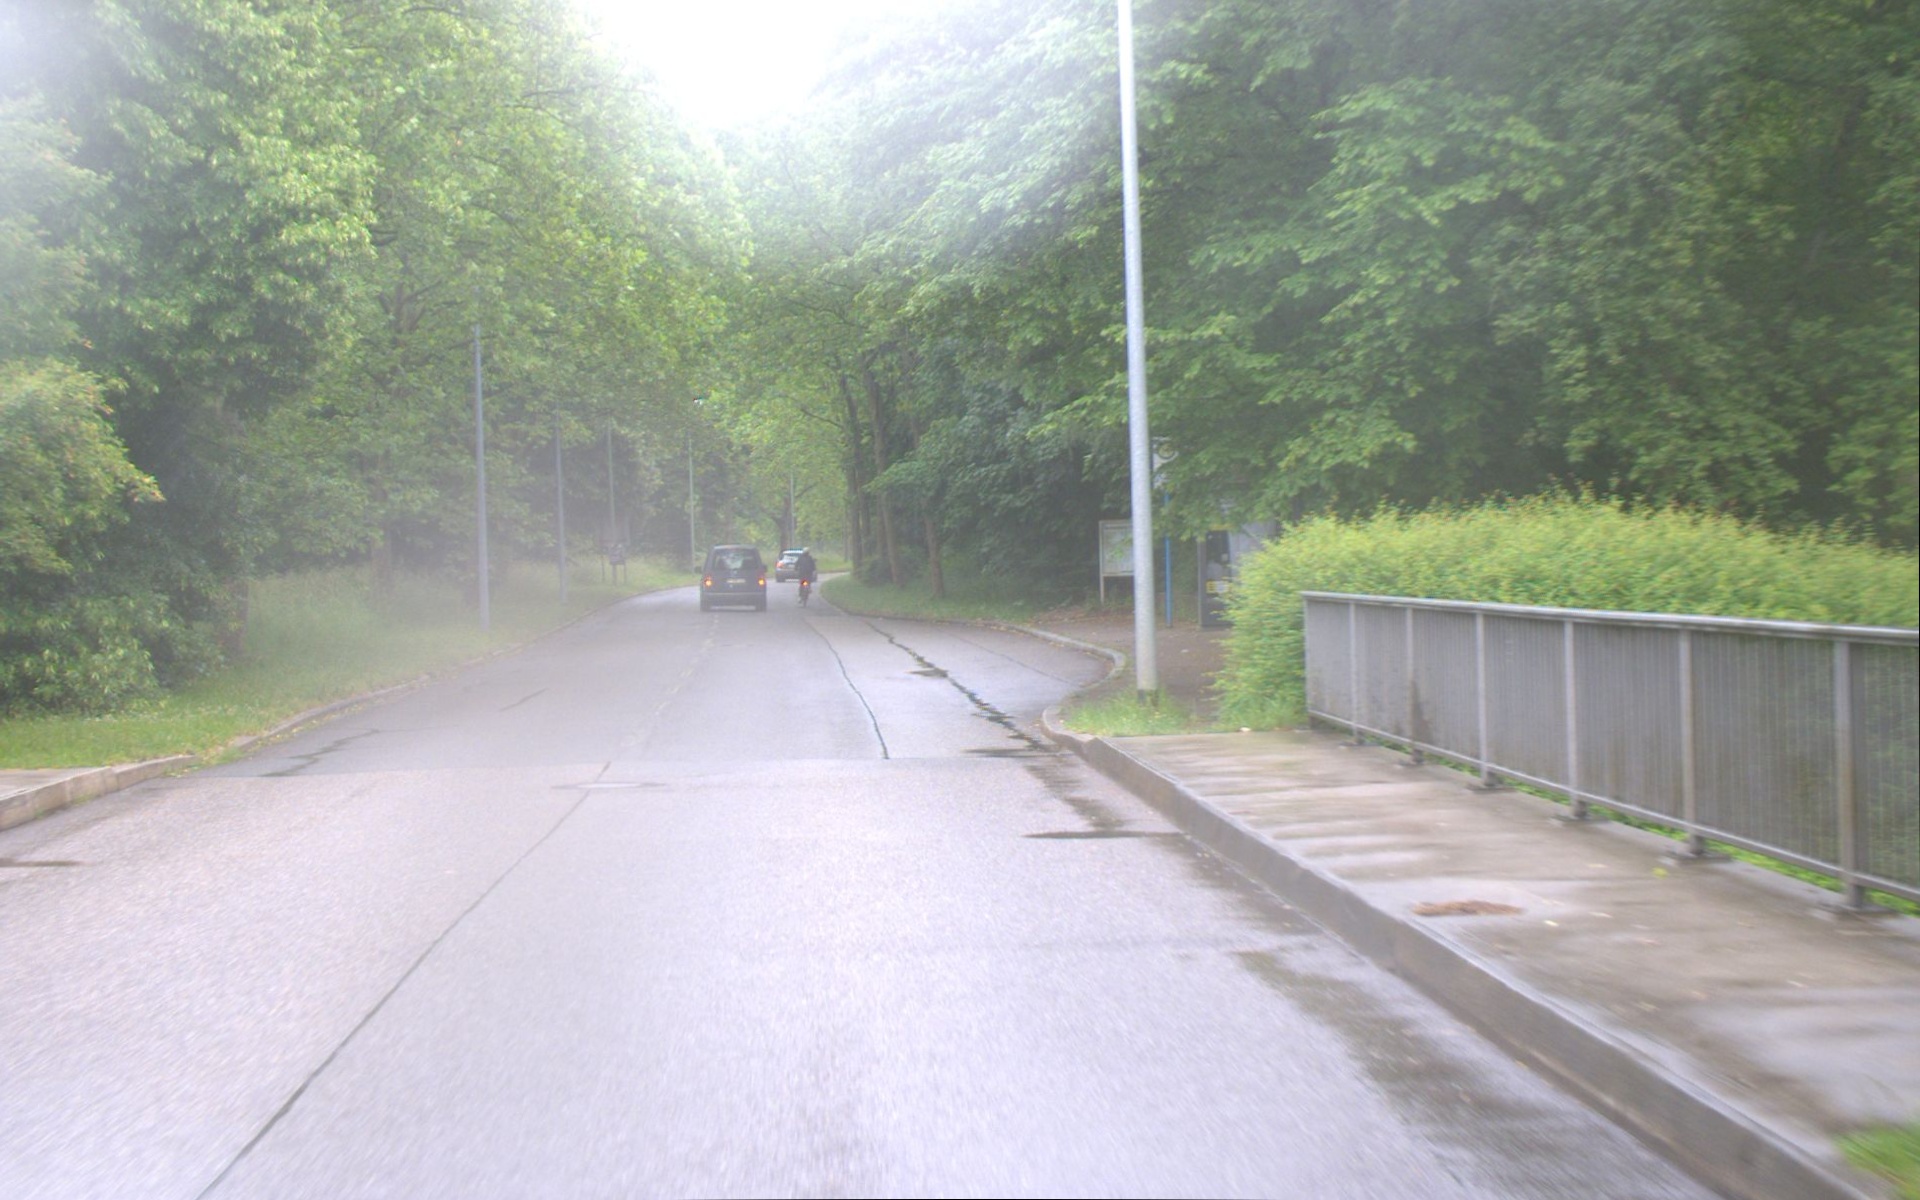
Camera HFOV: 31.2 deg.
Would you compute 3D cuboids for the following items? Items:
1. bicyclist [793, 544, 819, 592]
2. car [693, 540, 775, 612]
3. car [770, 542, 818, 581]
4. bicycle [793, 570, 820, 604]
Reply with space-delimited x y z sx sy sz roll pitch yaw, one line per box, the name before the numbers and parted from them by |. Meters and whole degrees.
bicyclist | -4.536 -0.943 101.511 0.730 1.406 0.973 0 1 0
car | -6.313 -0.689 95.549 1.985 1.919 4.001 -1 1 -8
car | -7.697 -1.779 159.360 1.993 1.809 4.001 0 0 -6
bicycle | -4.535 -0.386 101.548 0.730 0.970 2.173 0 1 0
